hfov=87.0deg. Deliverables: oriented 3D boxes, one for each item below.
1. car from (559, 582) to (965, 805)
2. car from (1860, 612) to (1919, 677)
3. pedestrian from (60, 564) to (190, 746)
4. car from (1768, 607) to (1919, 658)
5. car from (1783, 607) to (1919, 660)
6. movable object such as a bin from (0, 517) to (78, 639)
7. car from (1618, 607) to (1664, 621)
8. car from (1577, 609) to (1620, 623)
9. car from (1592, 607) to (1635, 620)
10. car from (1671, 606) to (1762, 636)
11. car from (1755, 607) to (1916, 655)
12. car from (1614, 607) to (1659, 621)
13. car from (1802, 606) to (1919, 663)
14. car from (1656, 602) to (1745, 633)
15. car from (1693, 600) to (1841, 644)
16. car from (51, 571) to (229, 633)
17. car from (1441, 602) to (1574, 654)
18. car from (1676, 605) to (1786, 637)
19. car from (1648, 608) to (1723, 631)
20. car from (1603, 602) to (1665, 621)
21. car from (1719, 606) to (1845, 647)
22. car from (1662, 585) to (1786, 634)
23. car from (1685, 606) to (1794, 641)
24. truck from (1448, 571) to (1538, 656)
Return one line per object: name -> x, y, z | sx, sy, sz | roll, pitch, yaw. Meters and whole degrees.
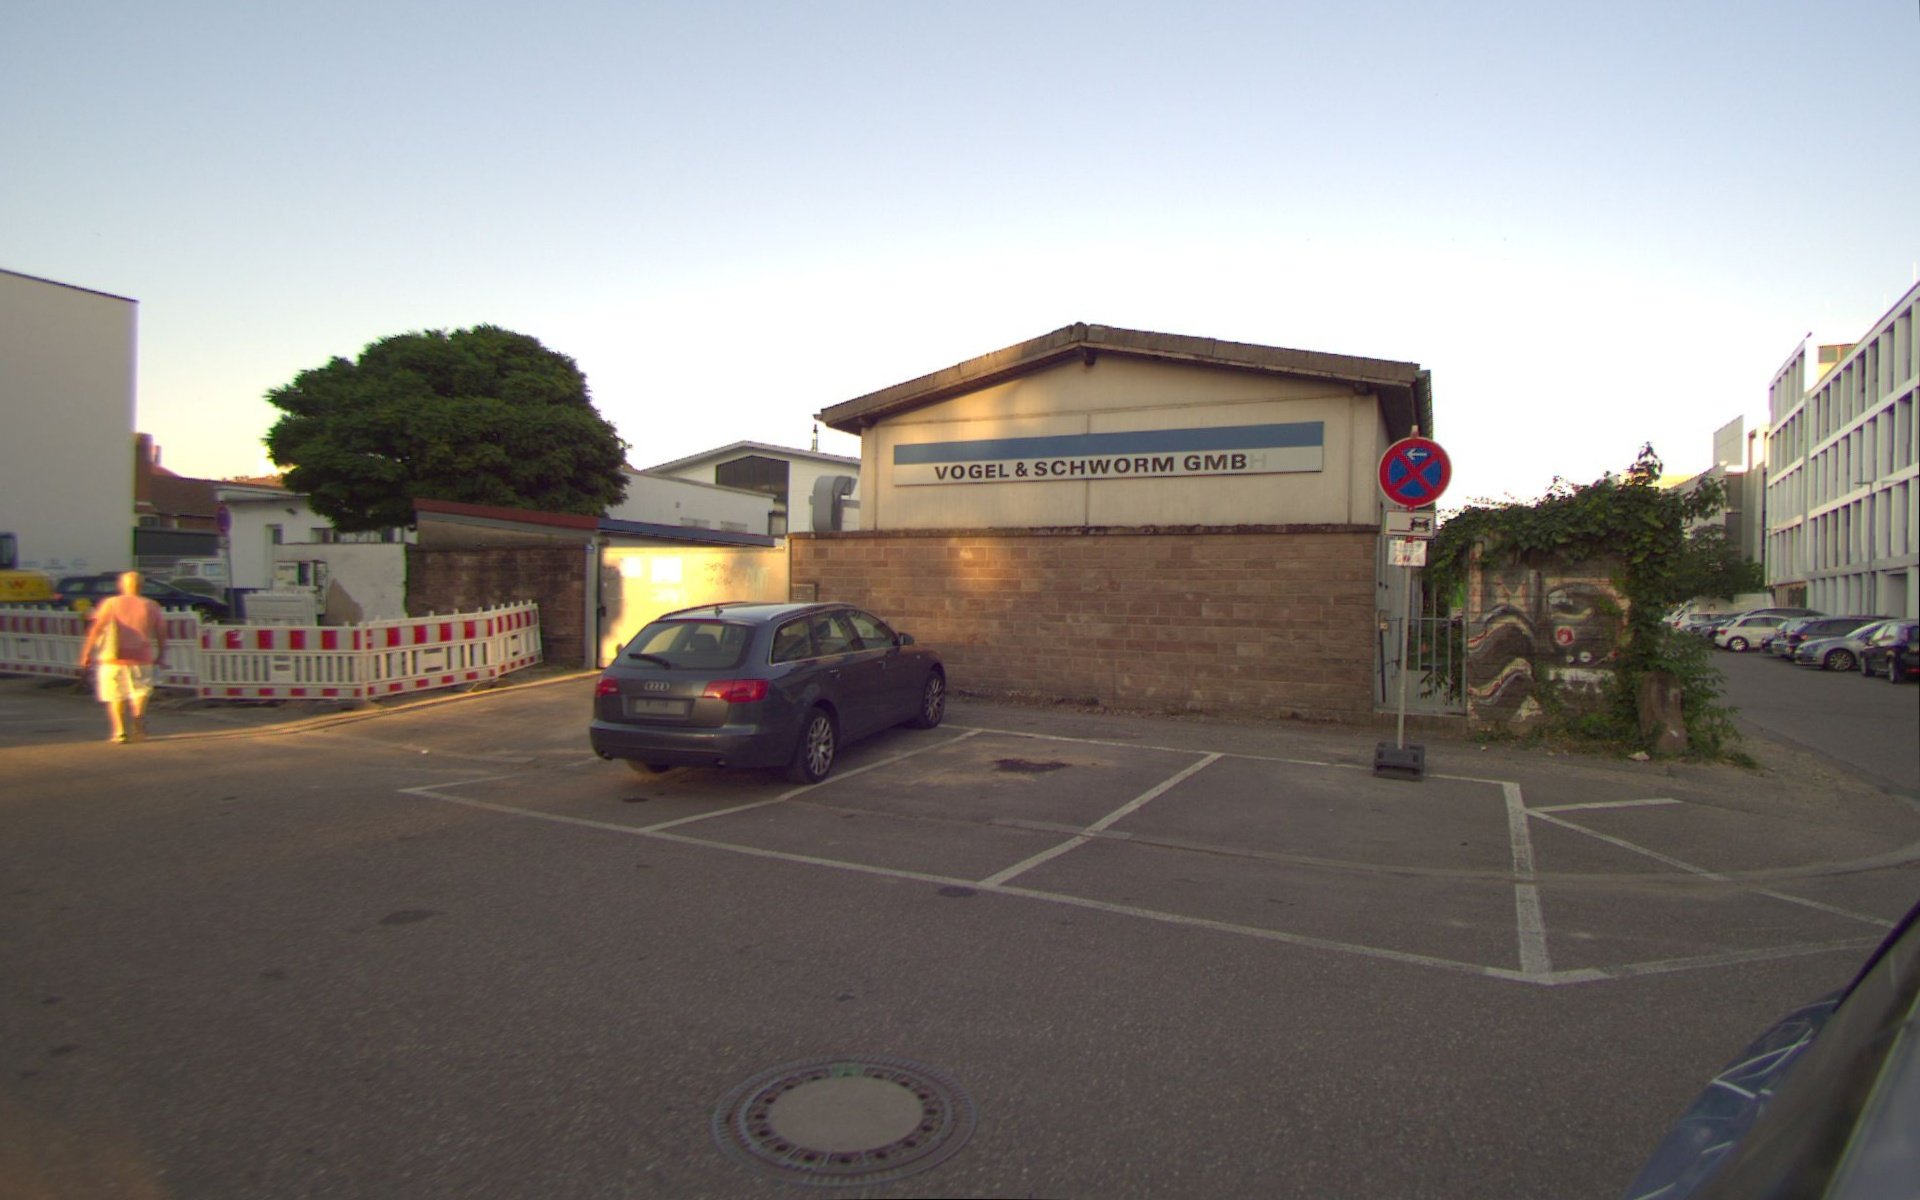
car -> -1.536, 0.629, 9.830 | 1.808, 1.550, 4.701 | 1, 2, 18
car -> 24.098, 1.051, 25.163 | 1.639, 1.457, 4.157 | -3, -2, 30
pedestrian -> -8.124, 0.516, 9.857 | 0.625, 1.687, 0.776 | 1, -2, 35
car -> 28.648, 1.027, 32.793 | 3.638, 1.531, 1.668 | 0, -1, 32
car -> 27.566, 1.001, 30.836 | 3.638, 1.531, 1.668 | 0, -1, 32
movable object such as a bin -> -23.066, -0.539, 24.192 | 2.631, 2.694, 5.186 | 2, 0, -45
car -> 67.038, 1.381, 99.710 | 3.626, 1.442, 1.707 | -1, -1, 31
car -> 76.226, 1.912, 120.938 | 3.977, 1.604, 1.788 | 0, -1, 20
car -> 72.989, 1.486, 113.108 | 3.773, 1.378, 1.784 | -1, -1, 25
car -> 39.929, 1.108, 53.503 | 3.690, 1.515, 1.688 | 0, -1, 31
car -> 30.041, 1.035, 34.886 | 3.947, 1.531, 1.775 | 0, -1, 33
car -> 68.195, 1.433, 102.063 | 3.625, 1.442, 1.708 | -1, -1, 29
car -> 26.316, 0.967, 28.390 | 3.909, 1.531, 1.668 | 0, -1, 33
car -> 45.130, 1.045, 61.778 | 4.082, 1.840, 1.798 | 0, -1, 27
car -> 33.049, 0.868, 41.636 | 4.603, 1.728, 1.979 | 0, -1, 35
car -> -24.509, 0.064, 30.331 | 1.843, 1.725, 3.937 | 1, 0, 43
car -> 17.942, 0.886, 33.239 | 3.741, 1.555, 1.871 | 0, 1, 31
car -> 38.869, 1.036, 51.156 | 4.290, 1.515, 1.773 | 0, -1, 33
car -> 50.575, 1.376, 70.639 | 4.086, 1.538, 1.825 | 0, -1, 30
car -> 69.381, 1.210, 104.201 | 5.031, 1.905, 1.873 | -1, -1, 25
car -> 31.885, 1.000, 39.402 | 3.654, 1.531, 1.675 | 0, -1, 35
car -> 42.888, 0.542, 56.999 | 5.357, 2.667, 2.054 | 0, -1, 33
car -> 36.103, 1.065, 46.981 | 3.760, 1.542, 1.676 | 0, -1, 30
truck -> 15.718, 0.421, 29.832 | 2.086, 2.228, 5.652 | 2, -1, 28
